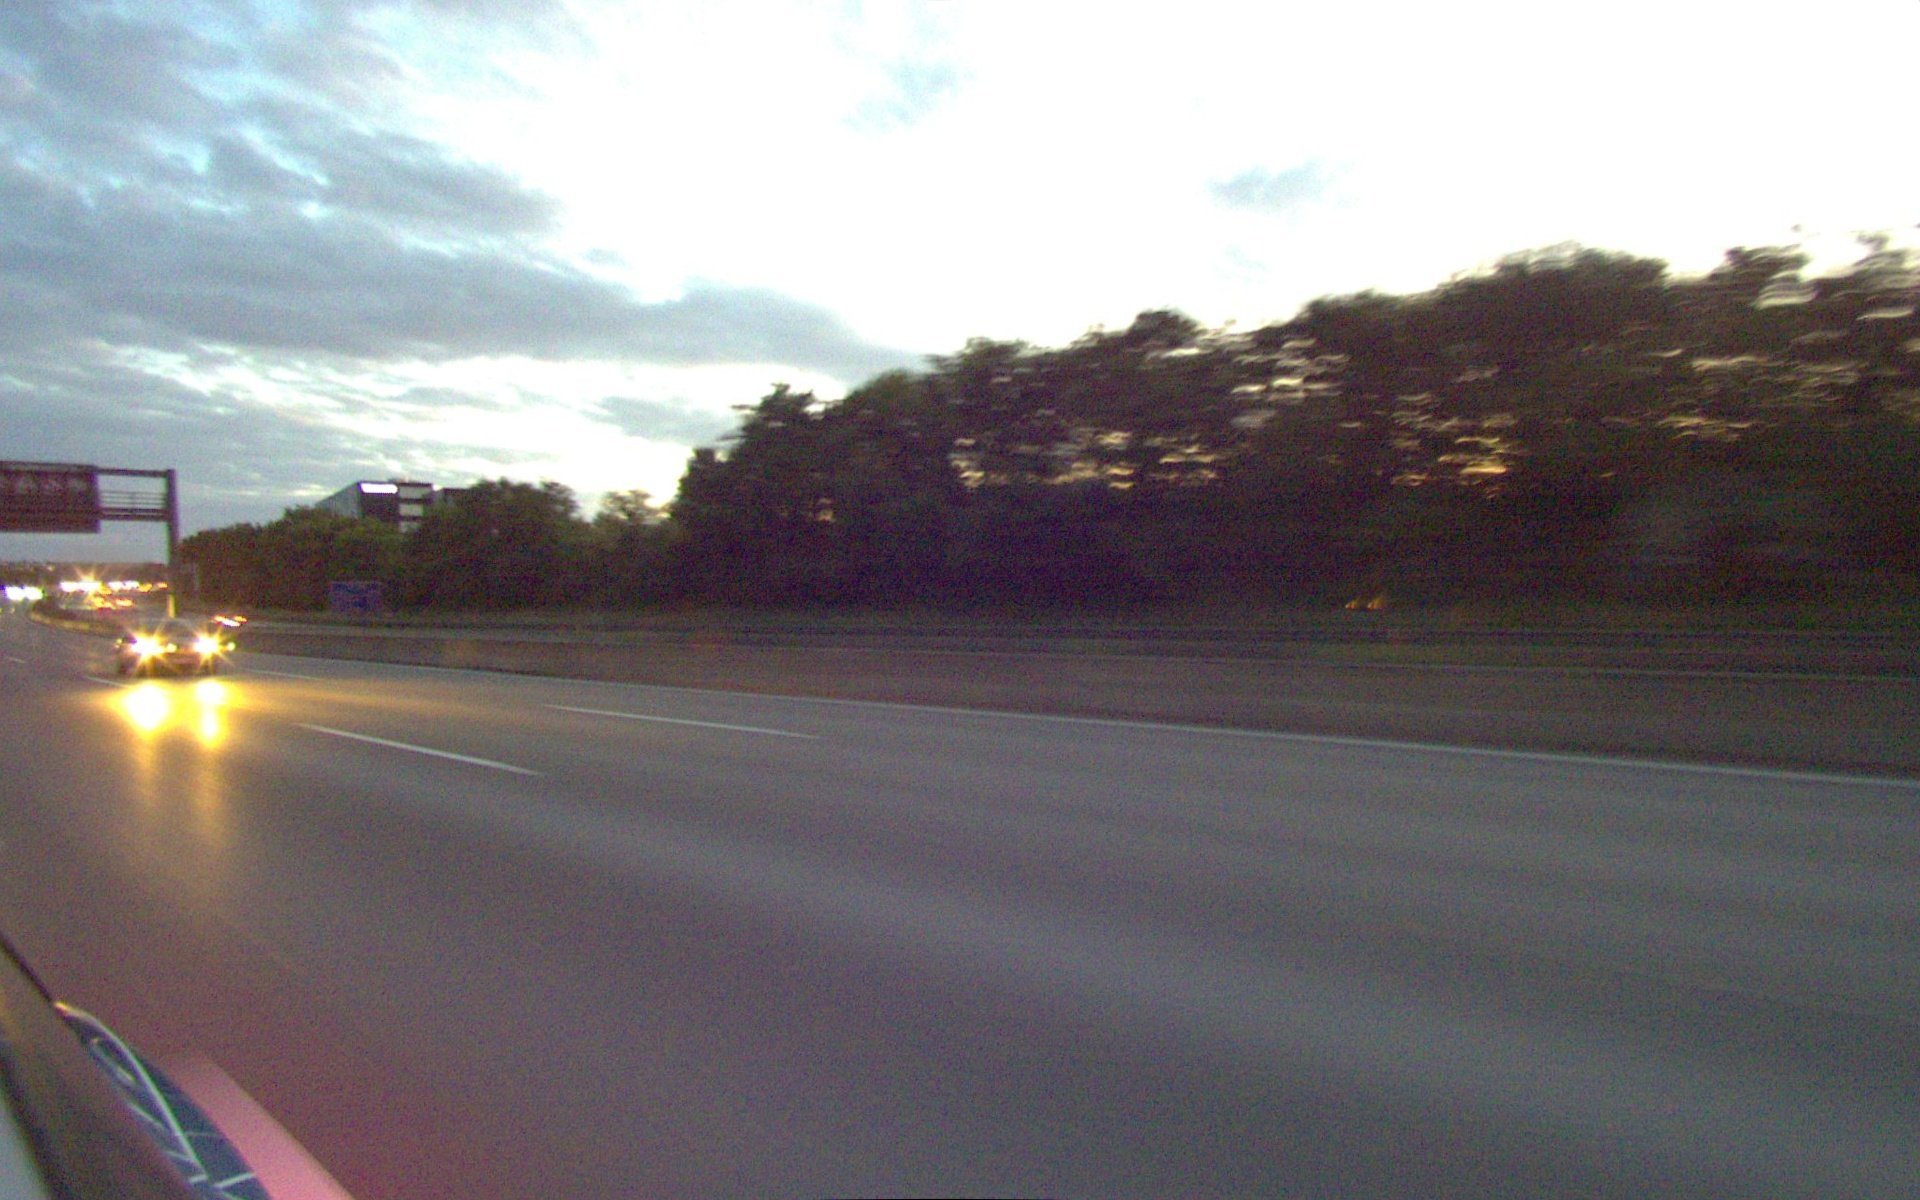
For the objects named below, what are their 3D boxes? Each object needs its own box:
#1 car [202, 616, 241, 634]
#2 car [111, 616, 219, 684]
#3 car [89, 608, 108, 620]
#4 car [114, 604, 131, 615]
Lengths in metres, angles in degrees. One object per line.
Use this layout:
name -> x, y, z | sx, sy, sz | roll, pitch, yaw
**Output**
car -> -64.045, 2.164, 87.756 | 4.151, 1.430, 1.972 | 0, 0, 43
car -> -21.062, 1.257, 26.762 | 4.001, 1.491, 1.694 | 2, 2, 44
car -> -148.257, 2.352, 174.139 | 4.679, 1.907, 1.972 | 1, 2, 43
car -> -162.123, 1.842, 195.840 | 5.060, 1.907, 1.971 | 2, 2, 45
